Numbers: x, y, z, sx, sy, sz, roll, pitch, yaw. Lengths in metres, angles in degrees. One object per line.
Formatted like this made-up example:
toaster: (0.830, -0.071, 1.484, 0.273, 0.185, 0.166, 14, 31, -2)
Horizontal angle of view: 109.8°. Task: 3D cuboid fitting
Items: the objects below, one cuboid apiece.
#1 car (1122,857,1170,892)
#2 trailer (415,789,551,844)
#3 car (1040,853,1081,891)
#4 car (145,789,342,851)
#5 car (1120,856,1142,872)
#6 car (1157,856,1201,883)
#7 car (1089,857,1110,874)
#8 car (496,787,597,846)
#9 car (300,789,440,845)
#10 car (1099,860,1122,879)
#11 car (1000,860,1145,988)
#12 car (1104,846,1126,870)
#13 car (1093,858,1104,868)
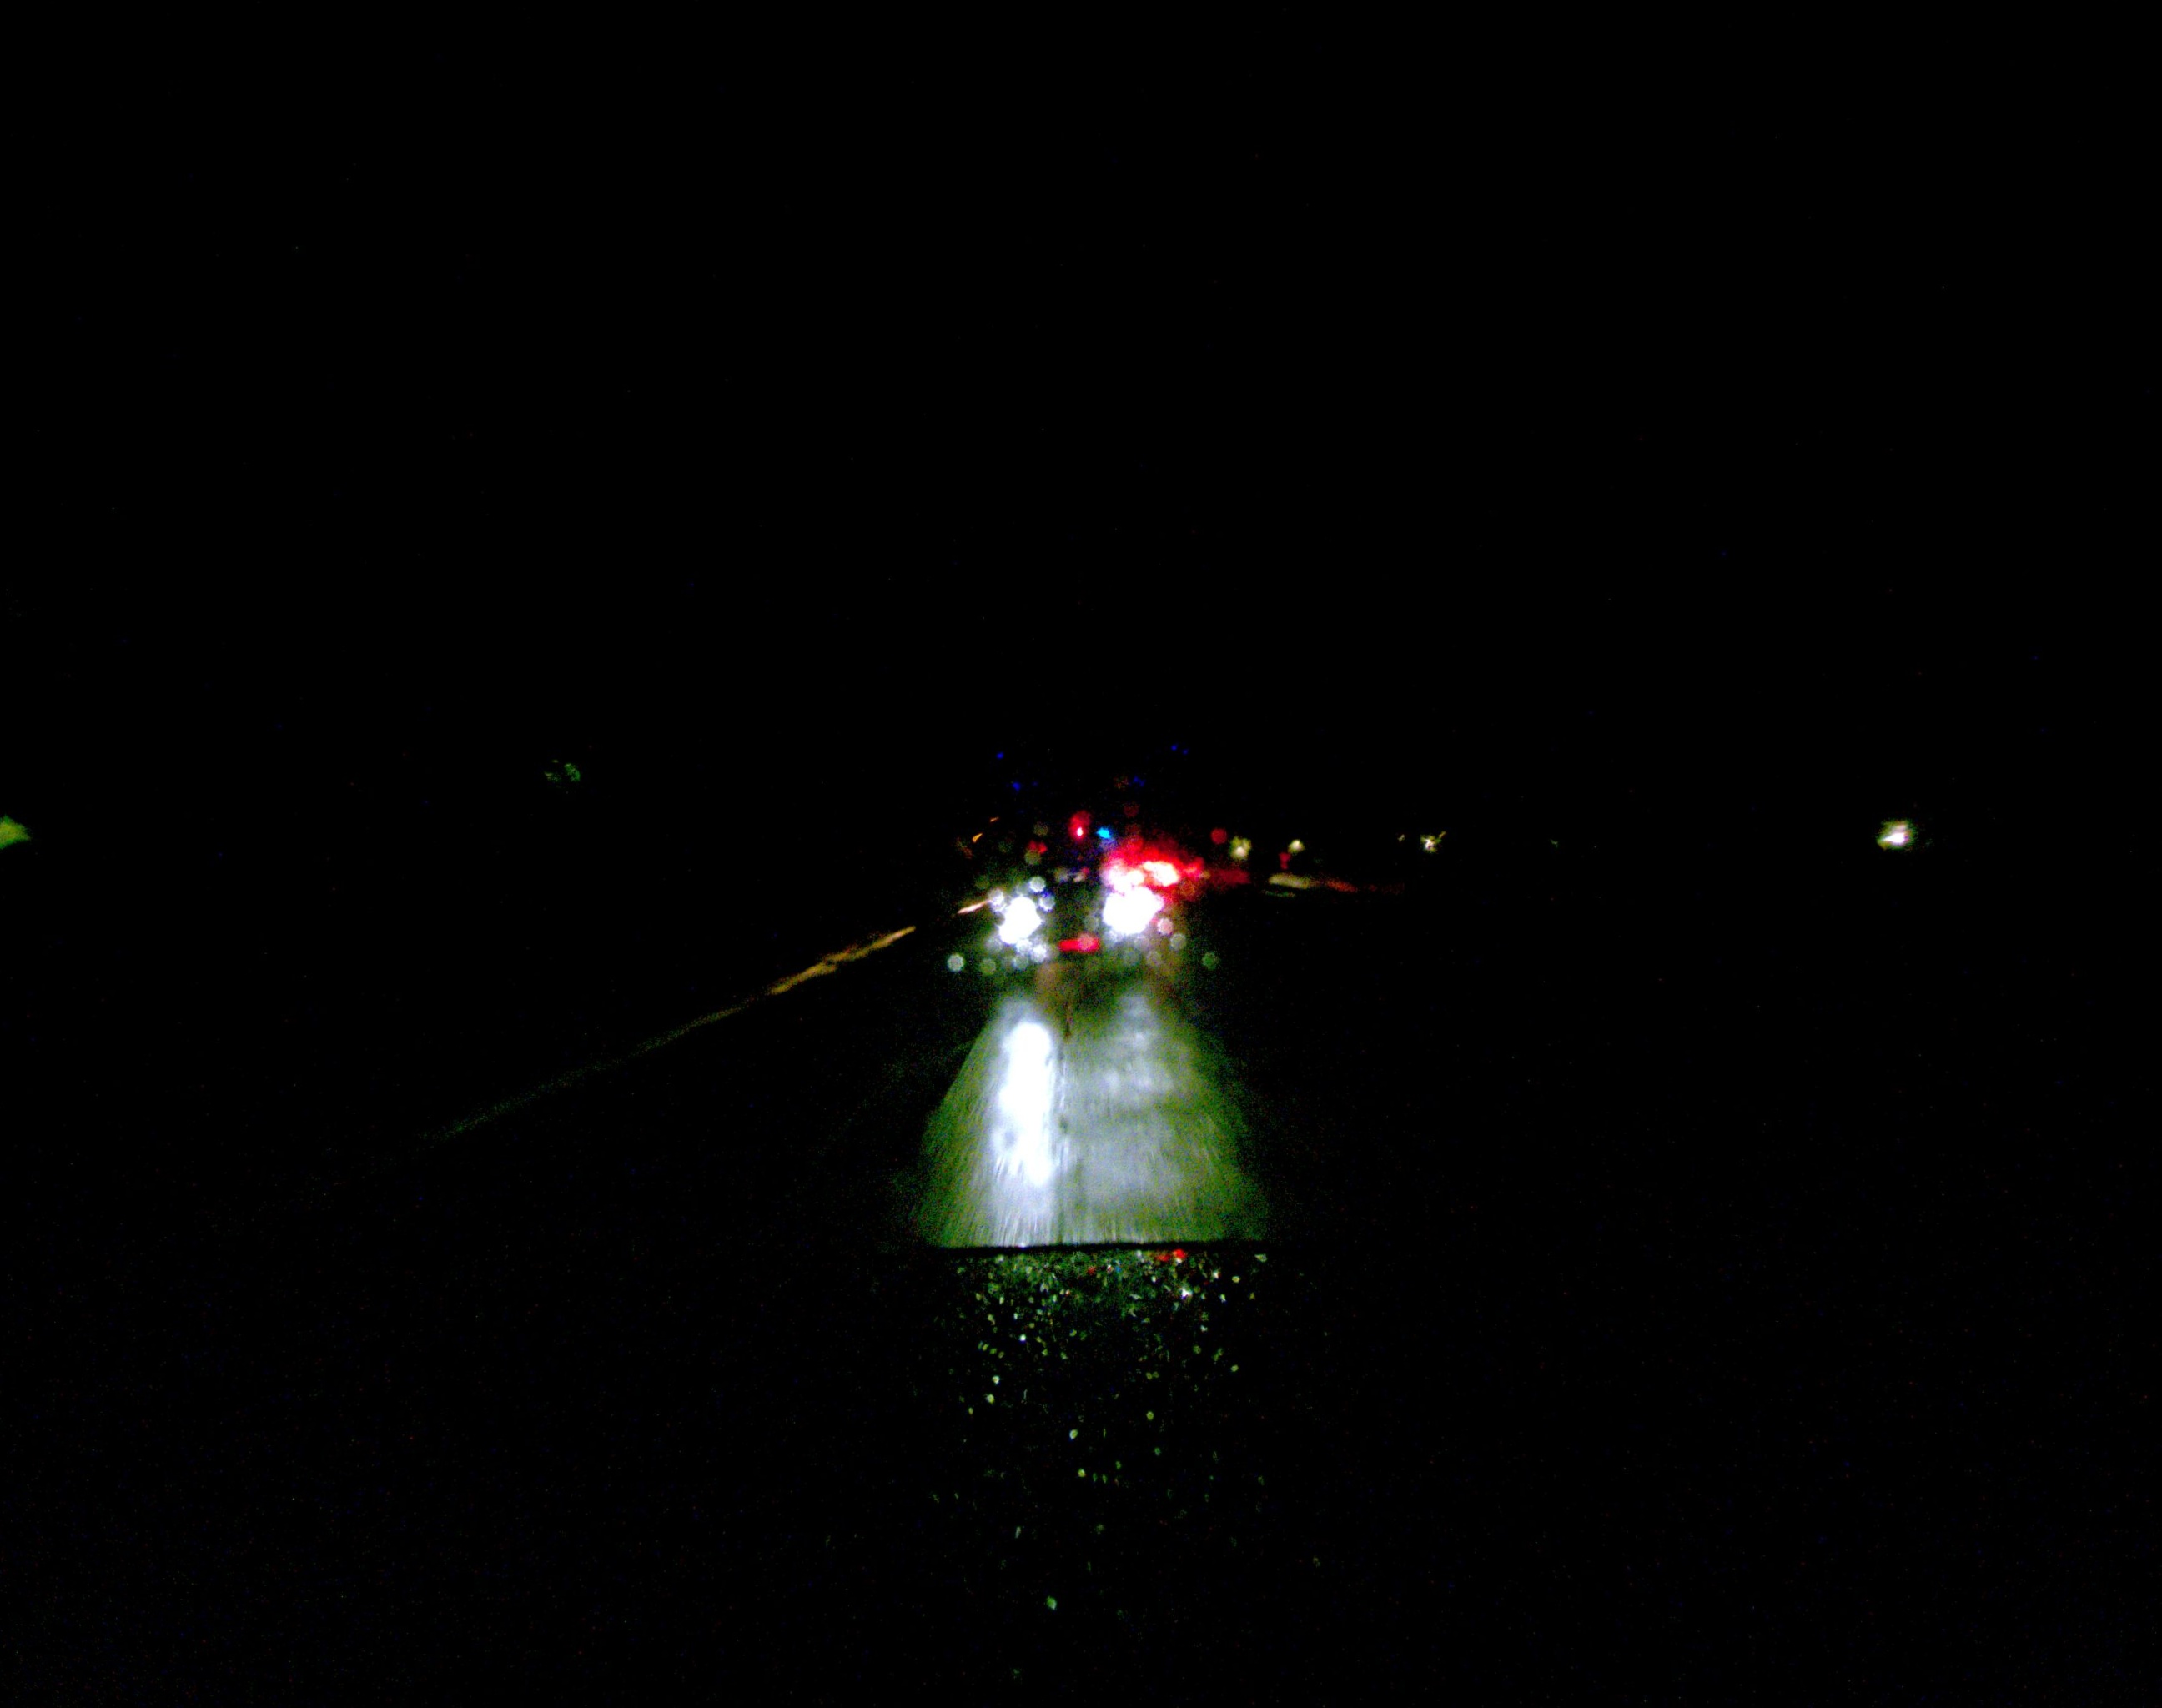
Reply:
car: (3.035, 0.934, 36.379, 1.699, 1.426, 4.291, -3, 0, -2)
trailer: (-25.476, -1.516, 32.696, 2.234, 2.060, 5.714, -2, 0, -12)
car: (-1.047, 0.896, 40.303, 1.759, 1.807, 4.711, -3, 0, 2)
car: (-22.647, -0.863, 20.793, 1.618, 1.464, 3.995, -2, 0, -14)
car: (5.110, 1.031, 78.229, 1.883, 1.528, 3.987, -2, 0, -1)
car: (5.781, 0.910, 45.446, 1.923, 1.435, 4.545, -2, 0, -1)
car: (1.844, 1.174, 77.685, 1.849, 1.565, 4.596, -2, 0, -1)
car: (-26.649, -1.781, 38.158, 2.121, 2.619, 5.445, -2, 0, -12)
car: (-23.533, -1.179, 25.370, 1.618, 1.630, 3.995, -2, 0, -14)
car: (2.623, 1.384, 69.367, 1.810, 1.620, 4.415, -2, 0, -1)
car: (-0.099, 0.916, 12.125, 1.809, 1.590, 4.786, -2, 0, 0)
car: (4.160, 0.467, 92.690, 2.128, 2.691, 6.239, -2, 0, -2)
car: (2.825, 1.414, 121.171, 1.626, 1.464, 3.885, -2, 0, 1)
